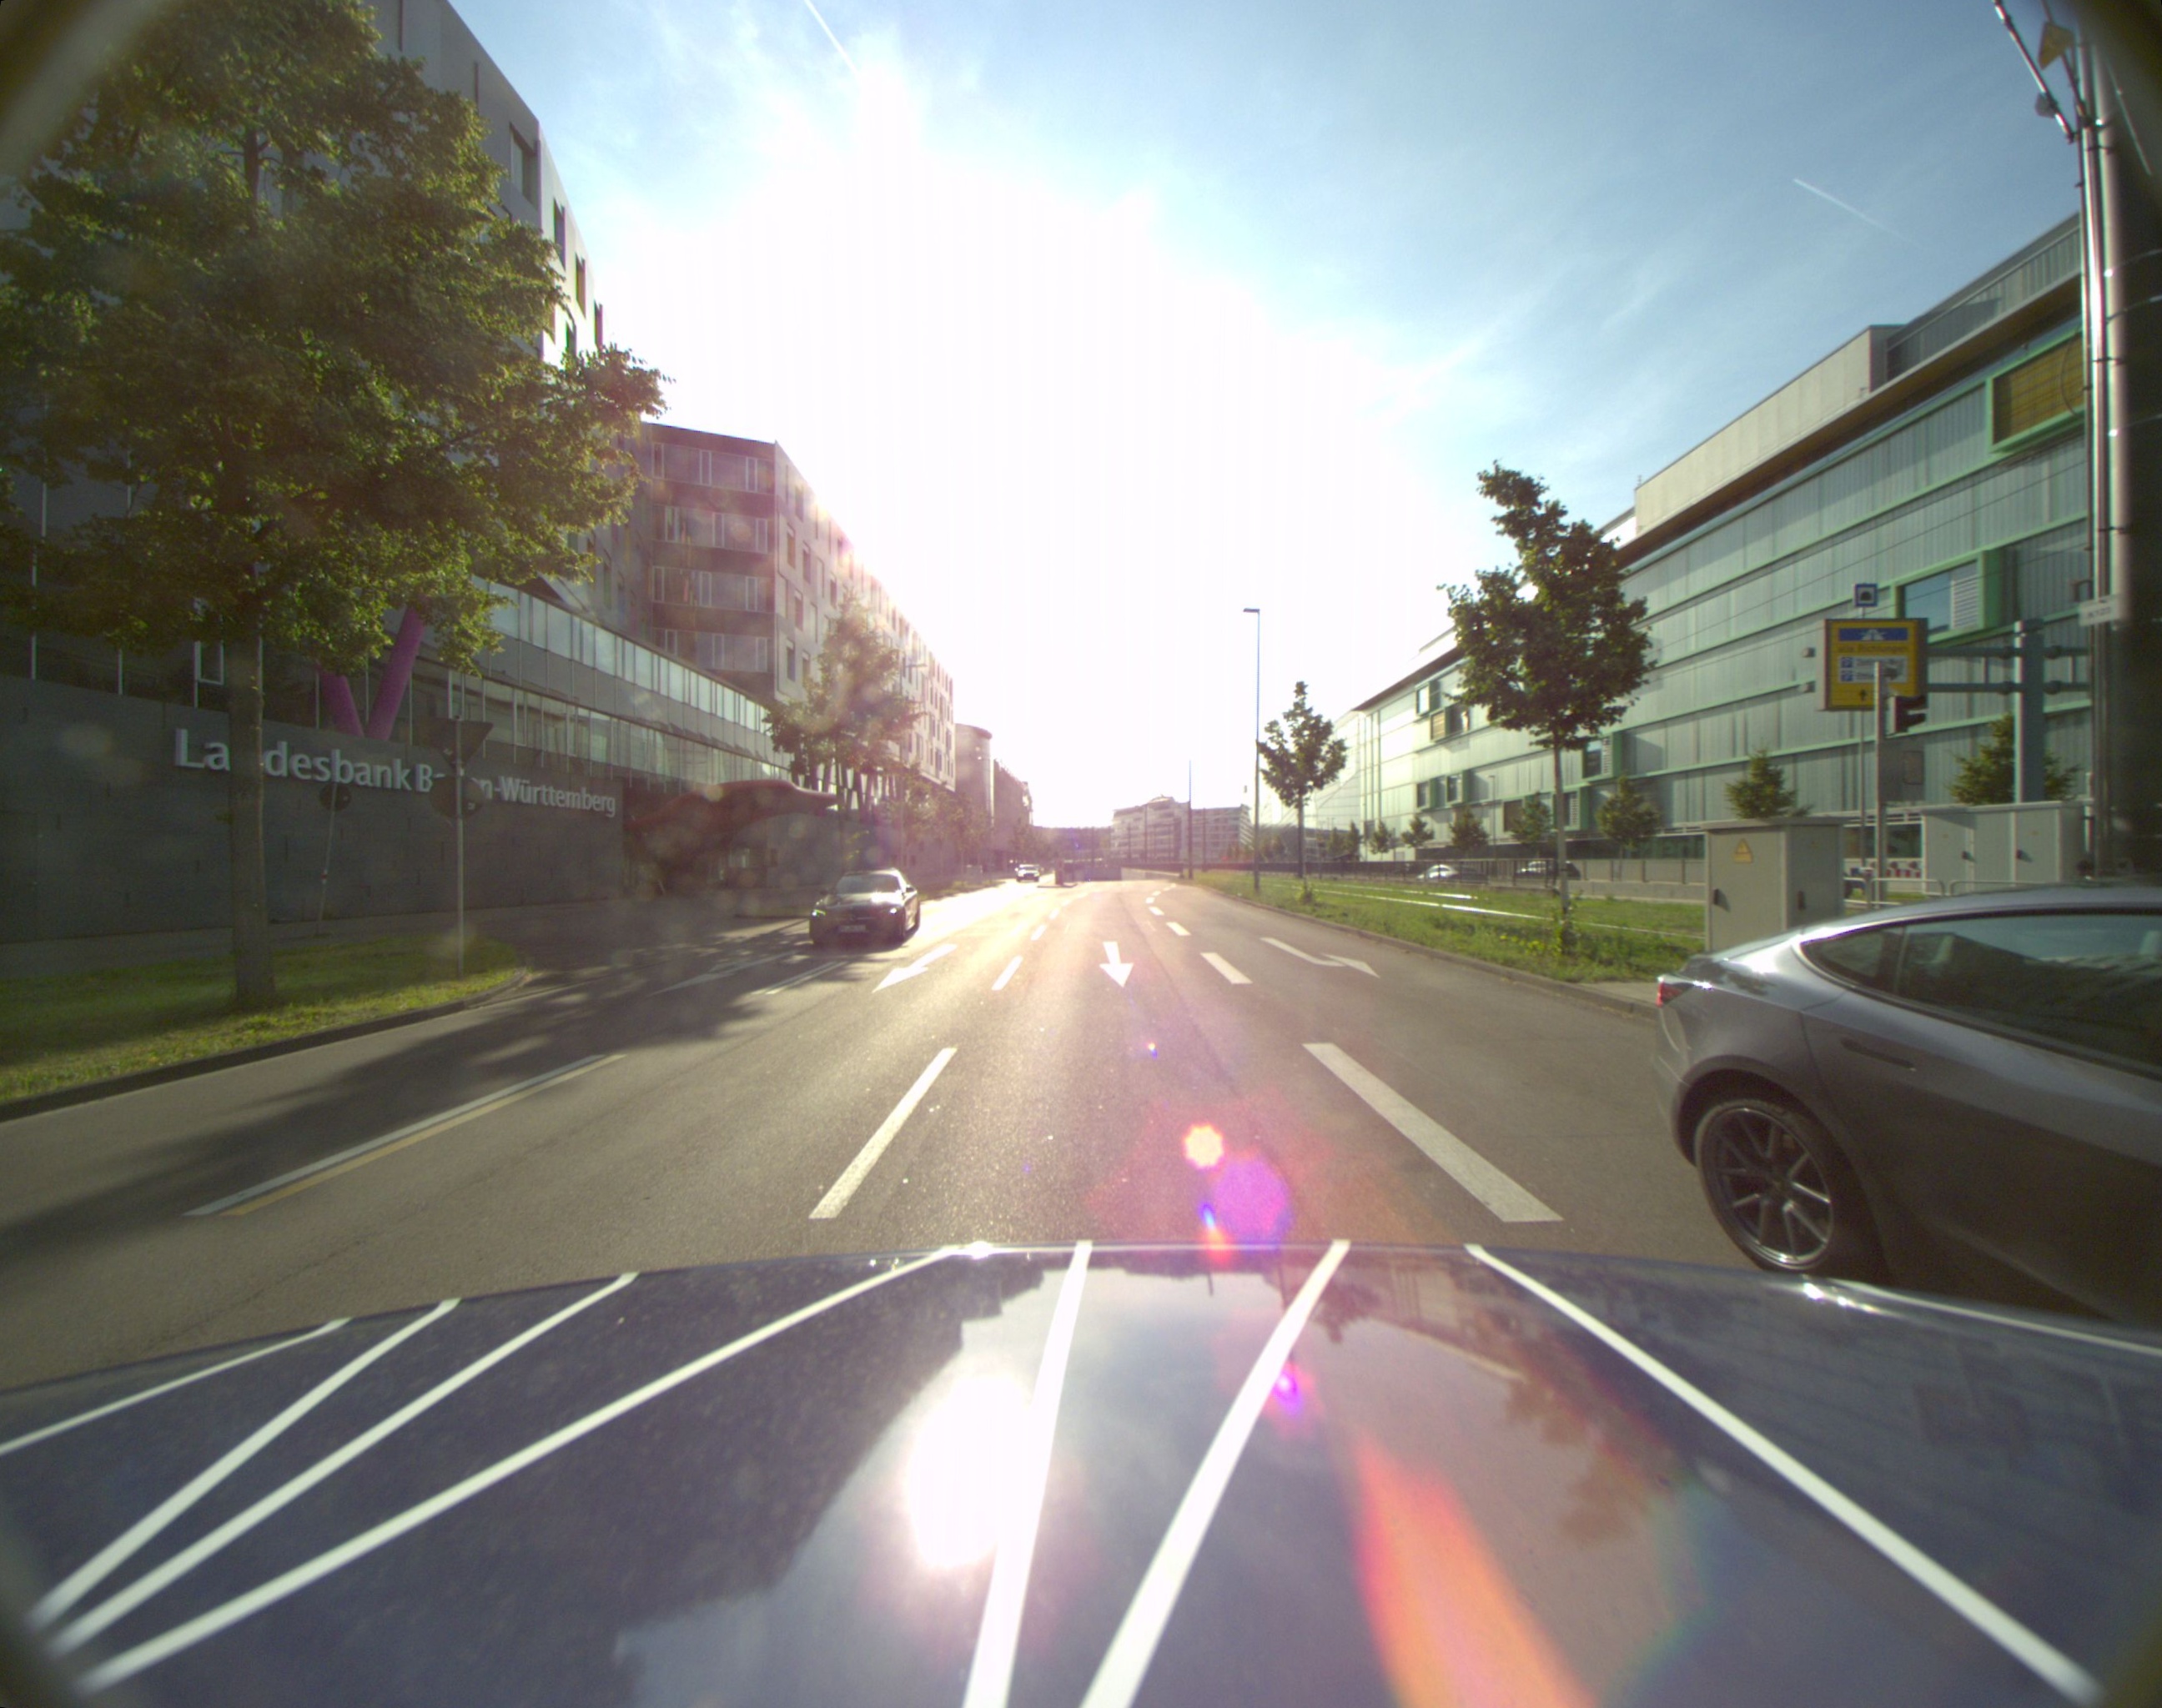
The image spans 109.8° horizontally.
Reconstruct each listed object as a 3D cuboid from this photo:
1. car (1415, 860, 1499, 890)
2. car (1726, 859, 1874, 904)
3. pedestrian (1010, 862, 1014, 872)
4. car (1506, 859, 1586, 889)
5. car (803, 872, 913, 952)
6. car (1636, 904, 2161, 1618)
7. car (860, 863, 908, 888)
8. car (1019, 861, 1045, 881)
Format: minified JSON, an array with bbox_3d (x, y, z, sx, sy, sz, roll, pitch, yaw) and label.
[{"bbox_3d":[20.080,1.088,40.831,1.999,1.519,4.912,0,-1,-2],"label":"car"},{"bbox_3d":[27.824,1.004,29.623,1.913,1.625,4.180,0,0,2],"label":"car"},{"bbox_3d":[-12.491,2.420,137.351,0.725,1.776,0.772,0,0,0],"label":"pedestrian"},{"bbox_3d":[27.861,1.182,45.722,1.998,1.677,4.617,0,-1,1],"label":"car"},{"bbox_3d":[-4.735,1.158,16.738,1.845,1.441,4.552,-1,-1,-11],"label":"car"},{"bbox_3d":[3.224,0.904,0.956,1.894,1.377,4.335,-2,-1,1],"label":"car"},{"bbox_3d":[-11.351,1.242,44.087,1.696,1.381,4.199,0,-1,0],"label":"car"},{"bbox_3d":[-4.187,1.477,65.691,1.894,1.418,4.471,-1,3,0],"label":"car"}]
